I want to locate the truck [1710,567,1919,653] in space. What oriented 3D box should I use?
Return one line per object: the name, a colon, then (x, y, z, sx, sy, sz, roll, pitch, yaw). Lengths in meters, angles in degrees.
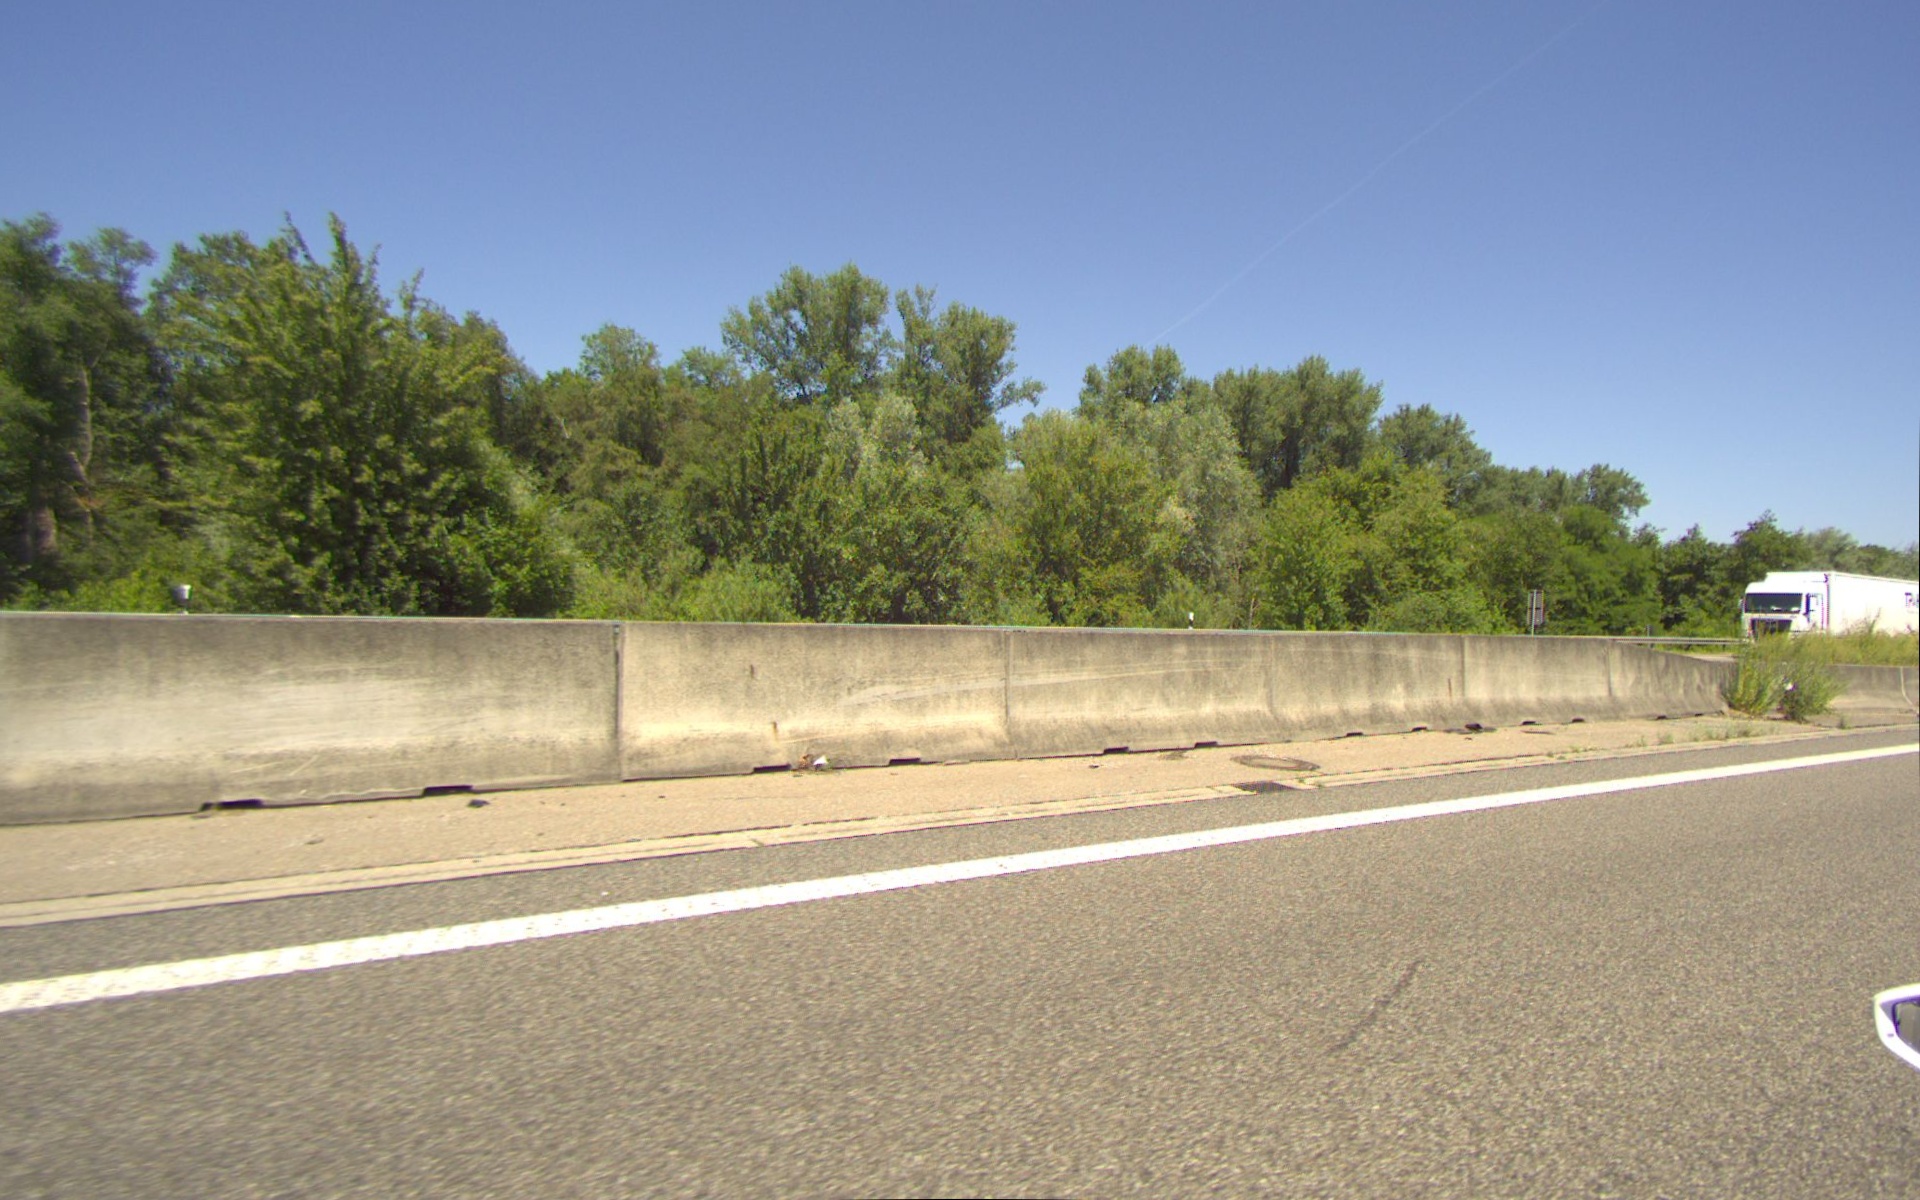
truck: (43.600, 0.638, 50.371, 17.290, 3.785, 3.579, 2, 0, -32)
